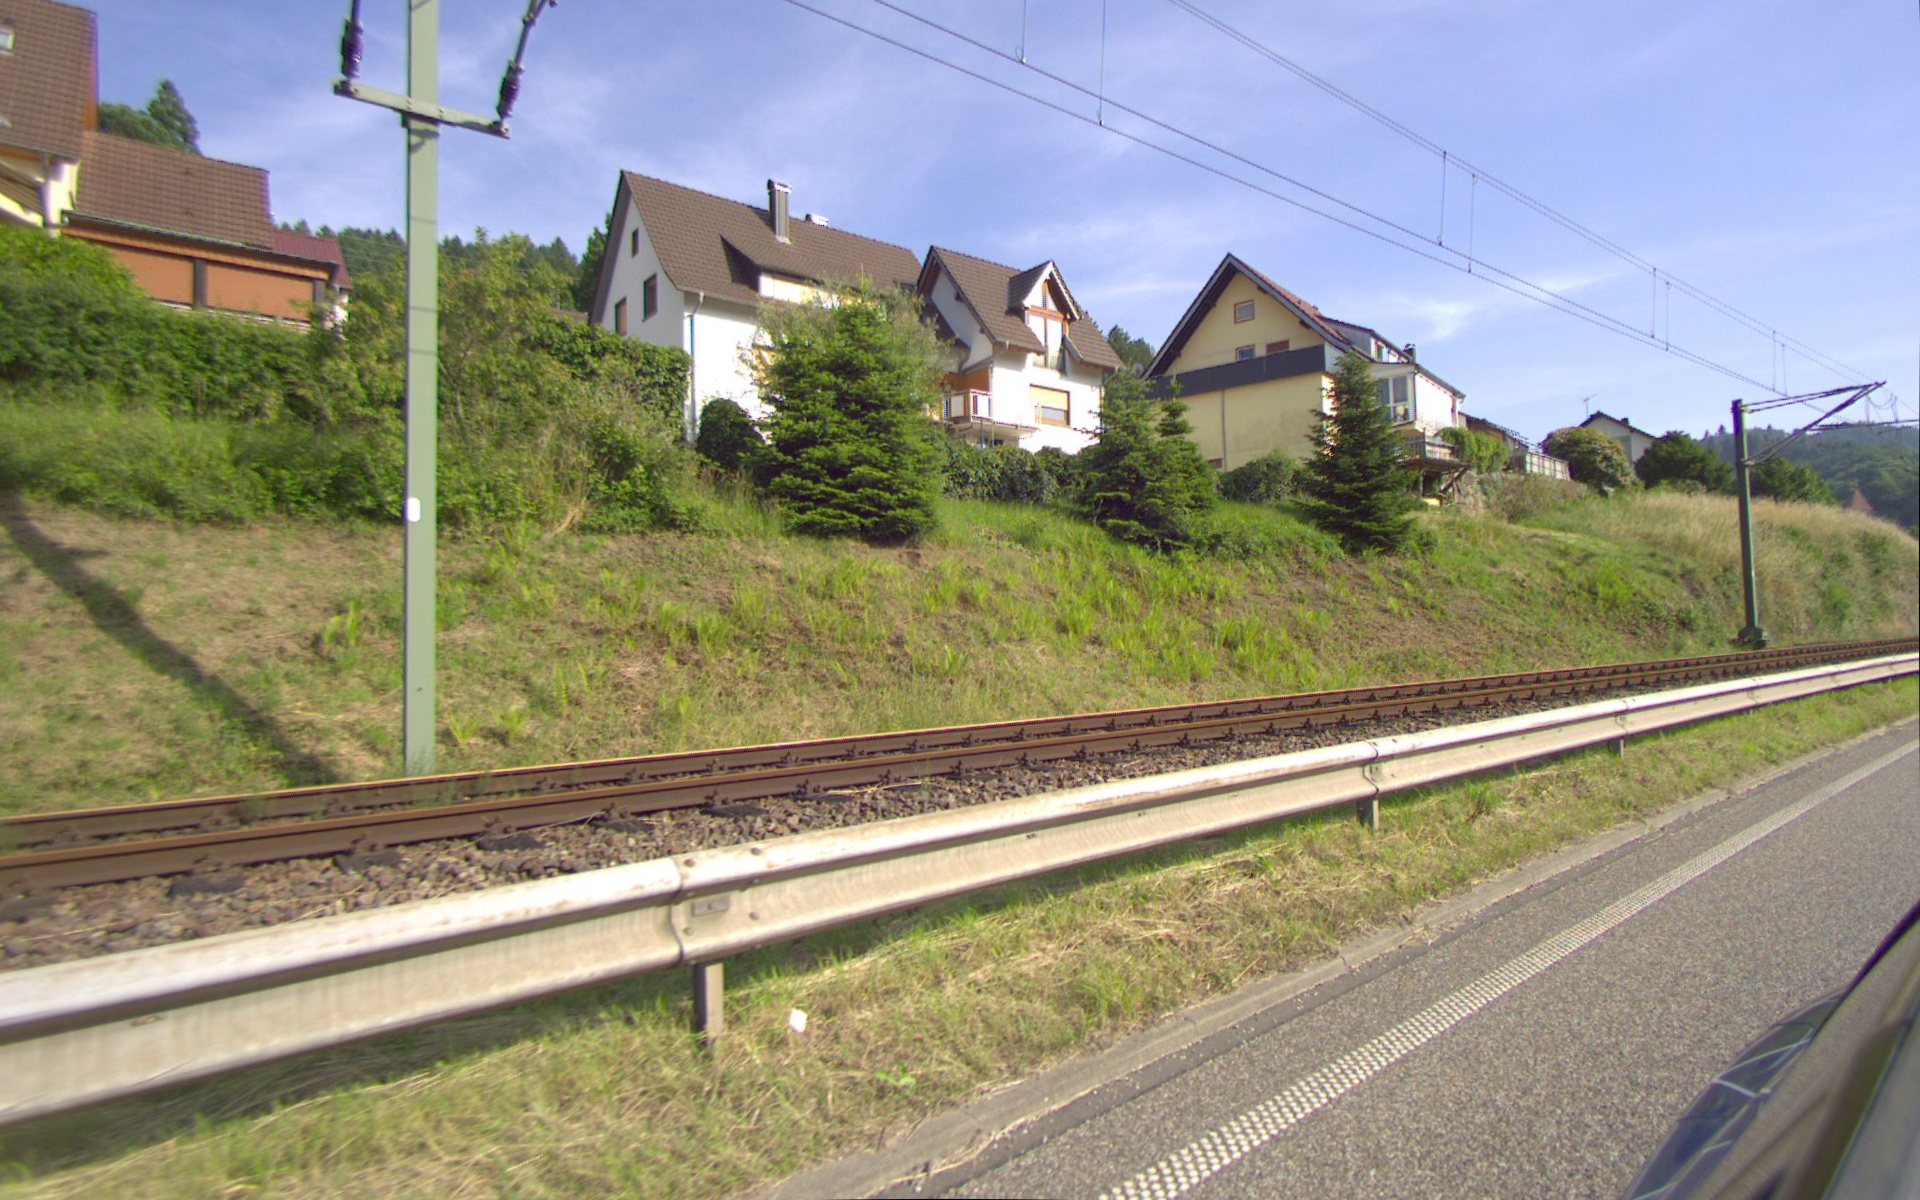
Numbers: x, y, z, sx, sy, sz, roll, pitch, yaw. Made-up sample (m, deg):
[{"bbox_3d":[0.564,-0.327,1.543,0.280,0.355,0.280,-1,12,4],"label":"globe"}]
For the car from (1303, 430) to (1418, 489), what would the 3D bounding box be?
[{"bbox_3d":[15.658,-5.463,39.683,1.724,1.560,3.741,-2,-3,-44],"label":"car"}]
